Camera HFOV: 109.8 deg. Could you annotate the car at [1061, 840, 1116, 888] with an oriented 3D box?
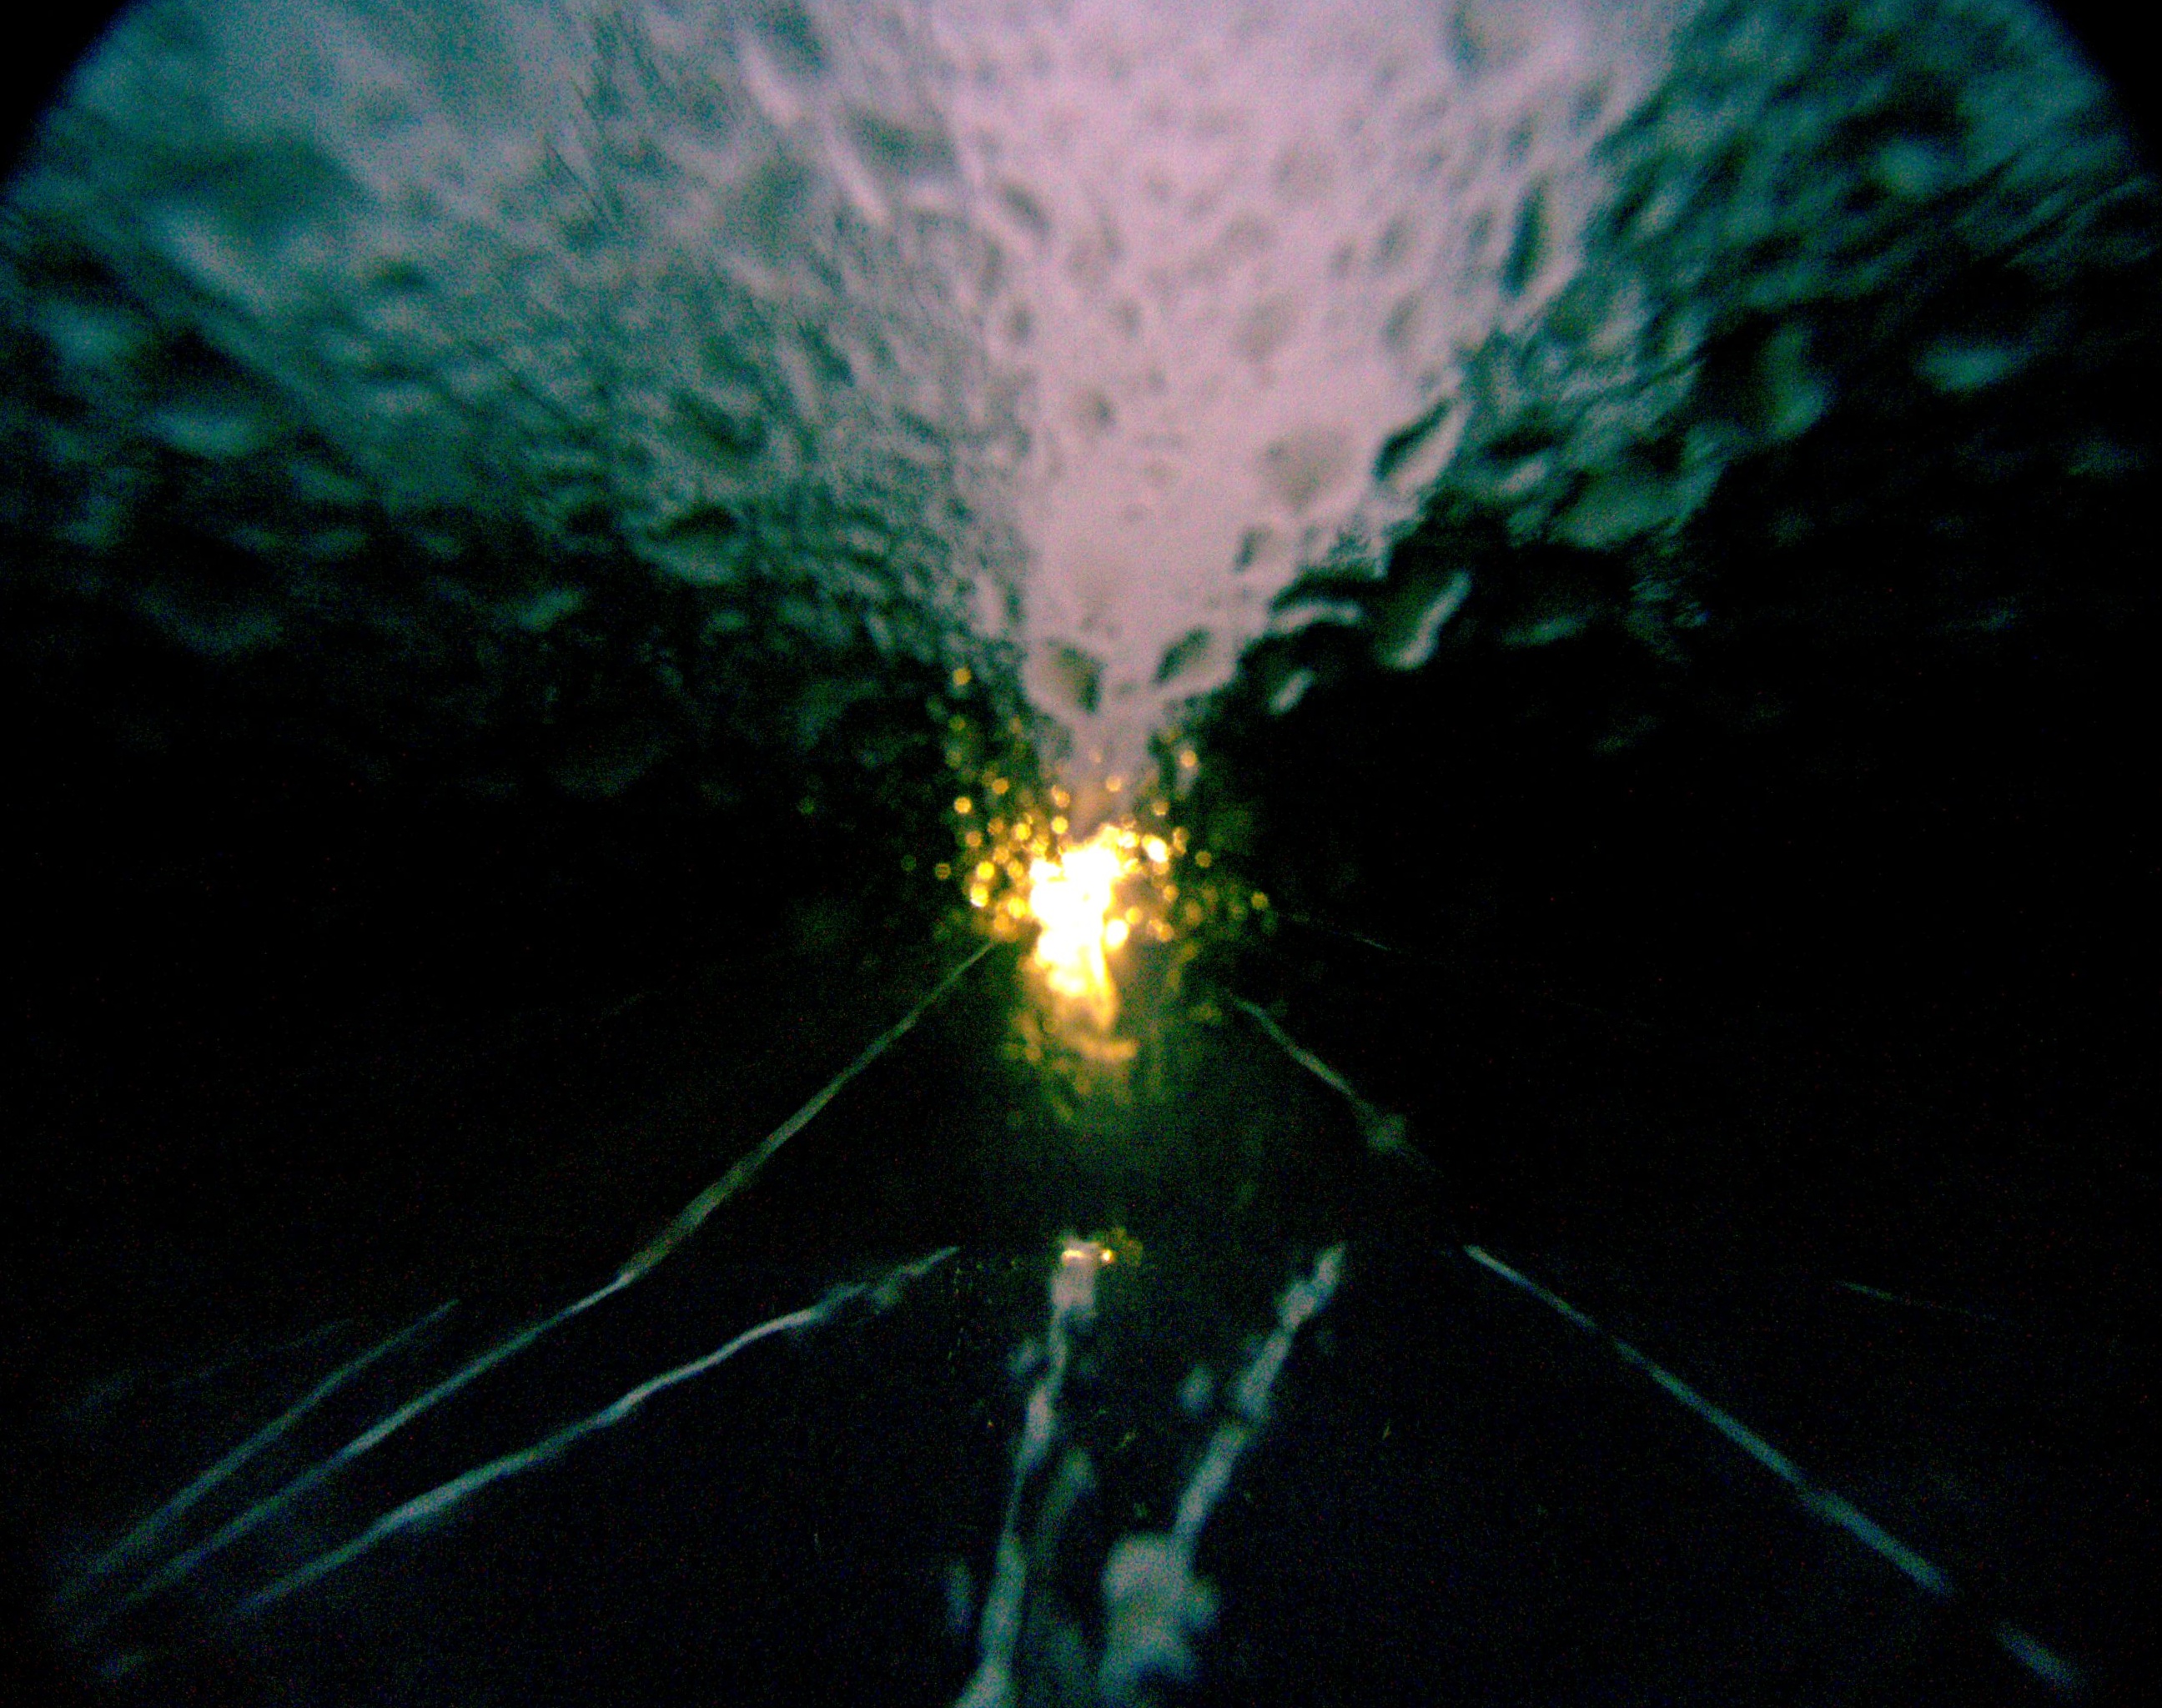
[{"bbox_3d":[0.452,0.452,39.525,2.542,2.213,6.169,-2,1,2],"label":"car"}]
